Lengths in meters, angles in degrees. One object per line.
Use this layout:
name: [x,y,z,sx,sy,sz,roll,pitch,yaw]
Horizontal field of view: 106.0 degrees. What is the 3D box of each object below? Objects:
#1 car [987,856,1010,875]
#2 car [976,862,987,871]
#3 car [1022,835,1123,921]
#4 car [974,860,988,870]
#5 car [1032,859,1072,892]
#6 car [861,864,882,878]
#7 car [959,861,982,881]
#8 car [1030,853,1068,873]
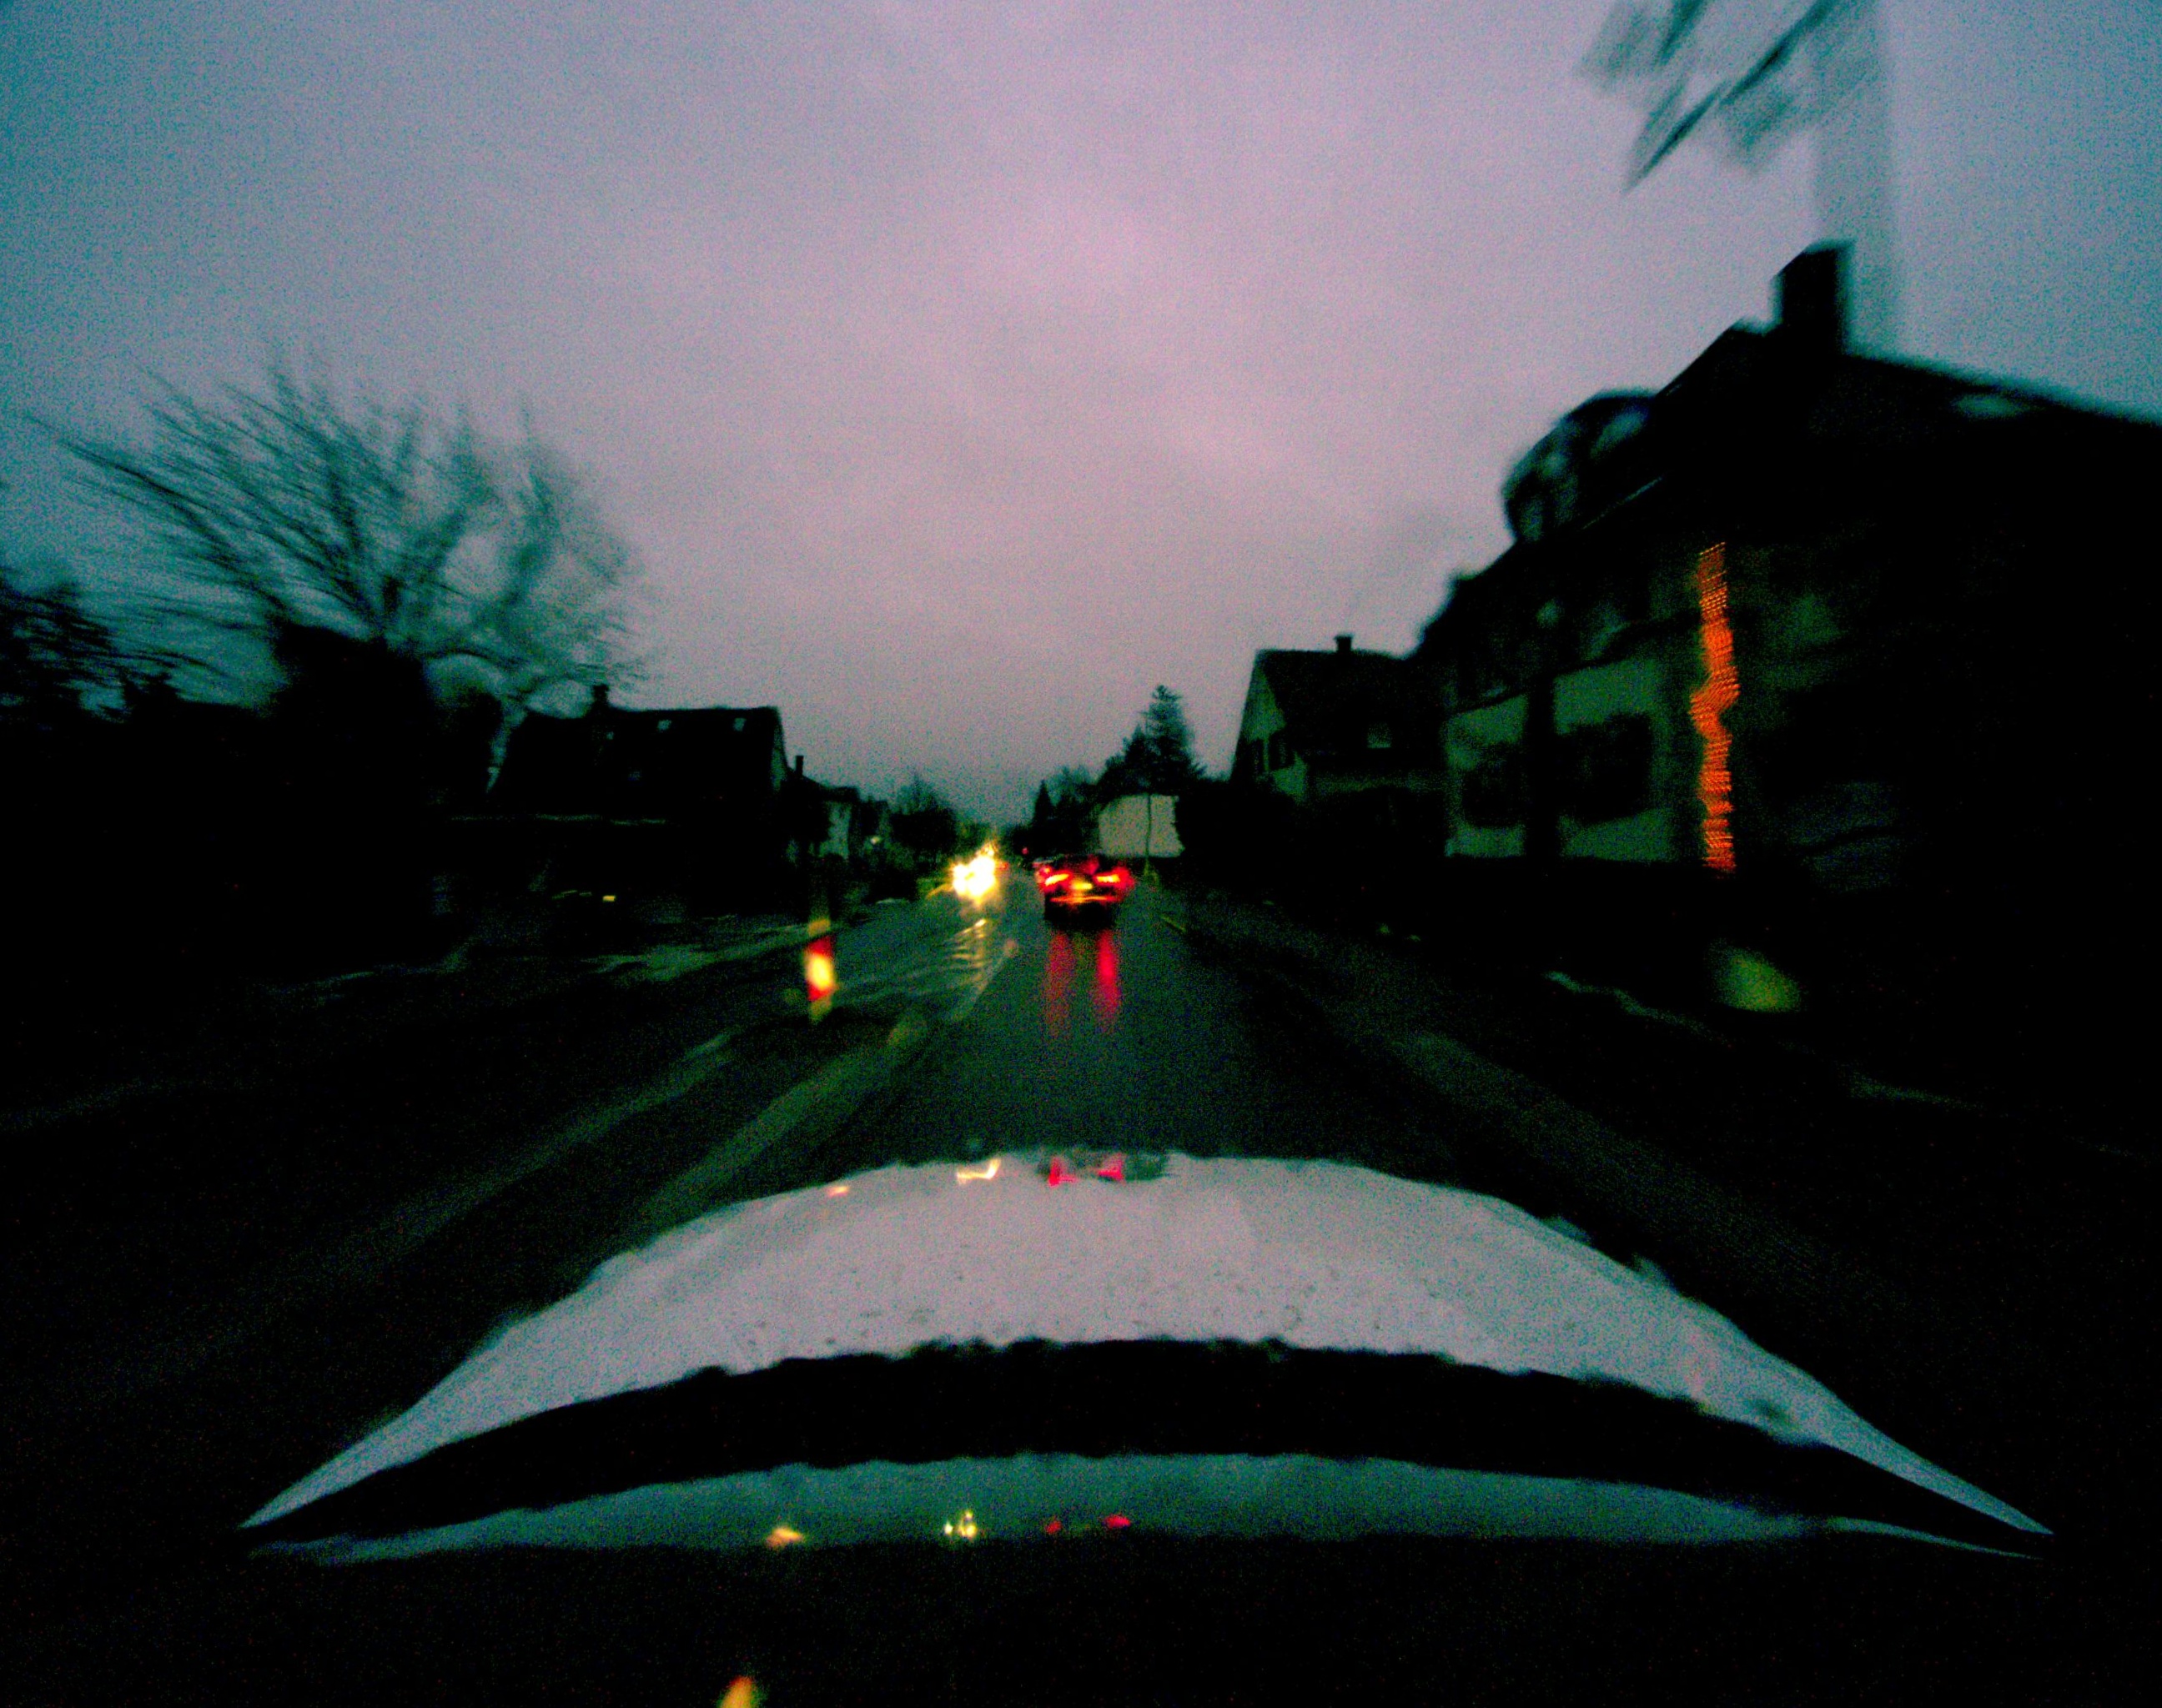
car: [-9.380,1.310,92.252,2.309,1.938,5.002,-2,-1,-9]
car: [-18.689,2.291,153.452,1.911,1.522,3.992,-2,1,-6]
car: [-0.268,0.599,21.664,2.303,1.938,5.014,-2,-1,-2]
car: [-15.021,1.623,121.874,1.843,1.331,3.922,-3,0,-11]
car: [-1.607,1.108,44.033,1.855,1.647,3.991,-1,0,-6]
car: [-20.994,1.712,81.494,1.783,1.393,3.974,0,-1,-19]
car: [-9.440,1.465,69.695,1.821,1.554,3.990,-3,0,-7]
car: [-3.672,1.003,92.751,4.239,2.013,1.807,-2,0,-5]
